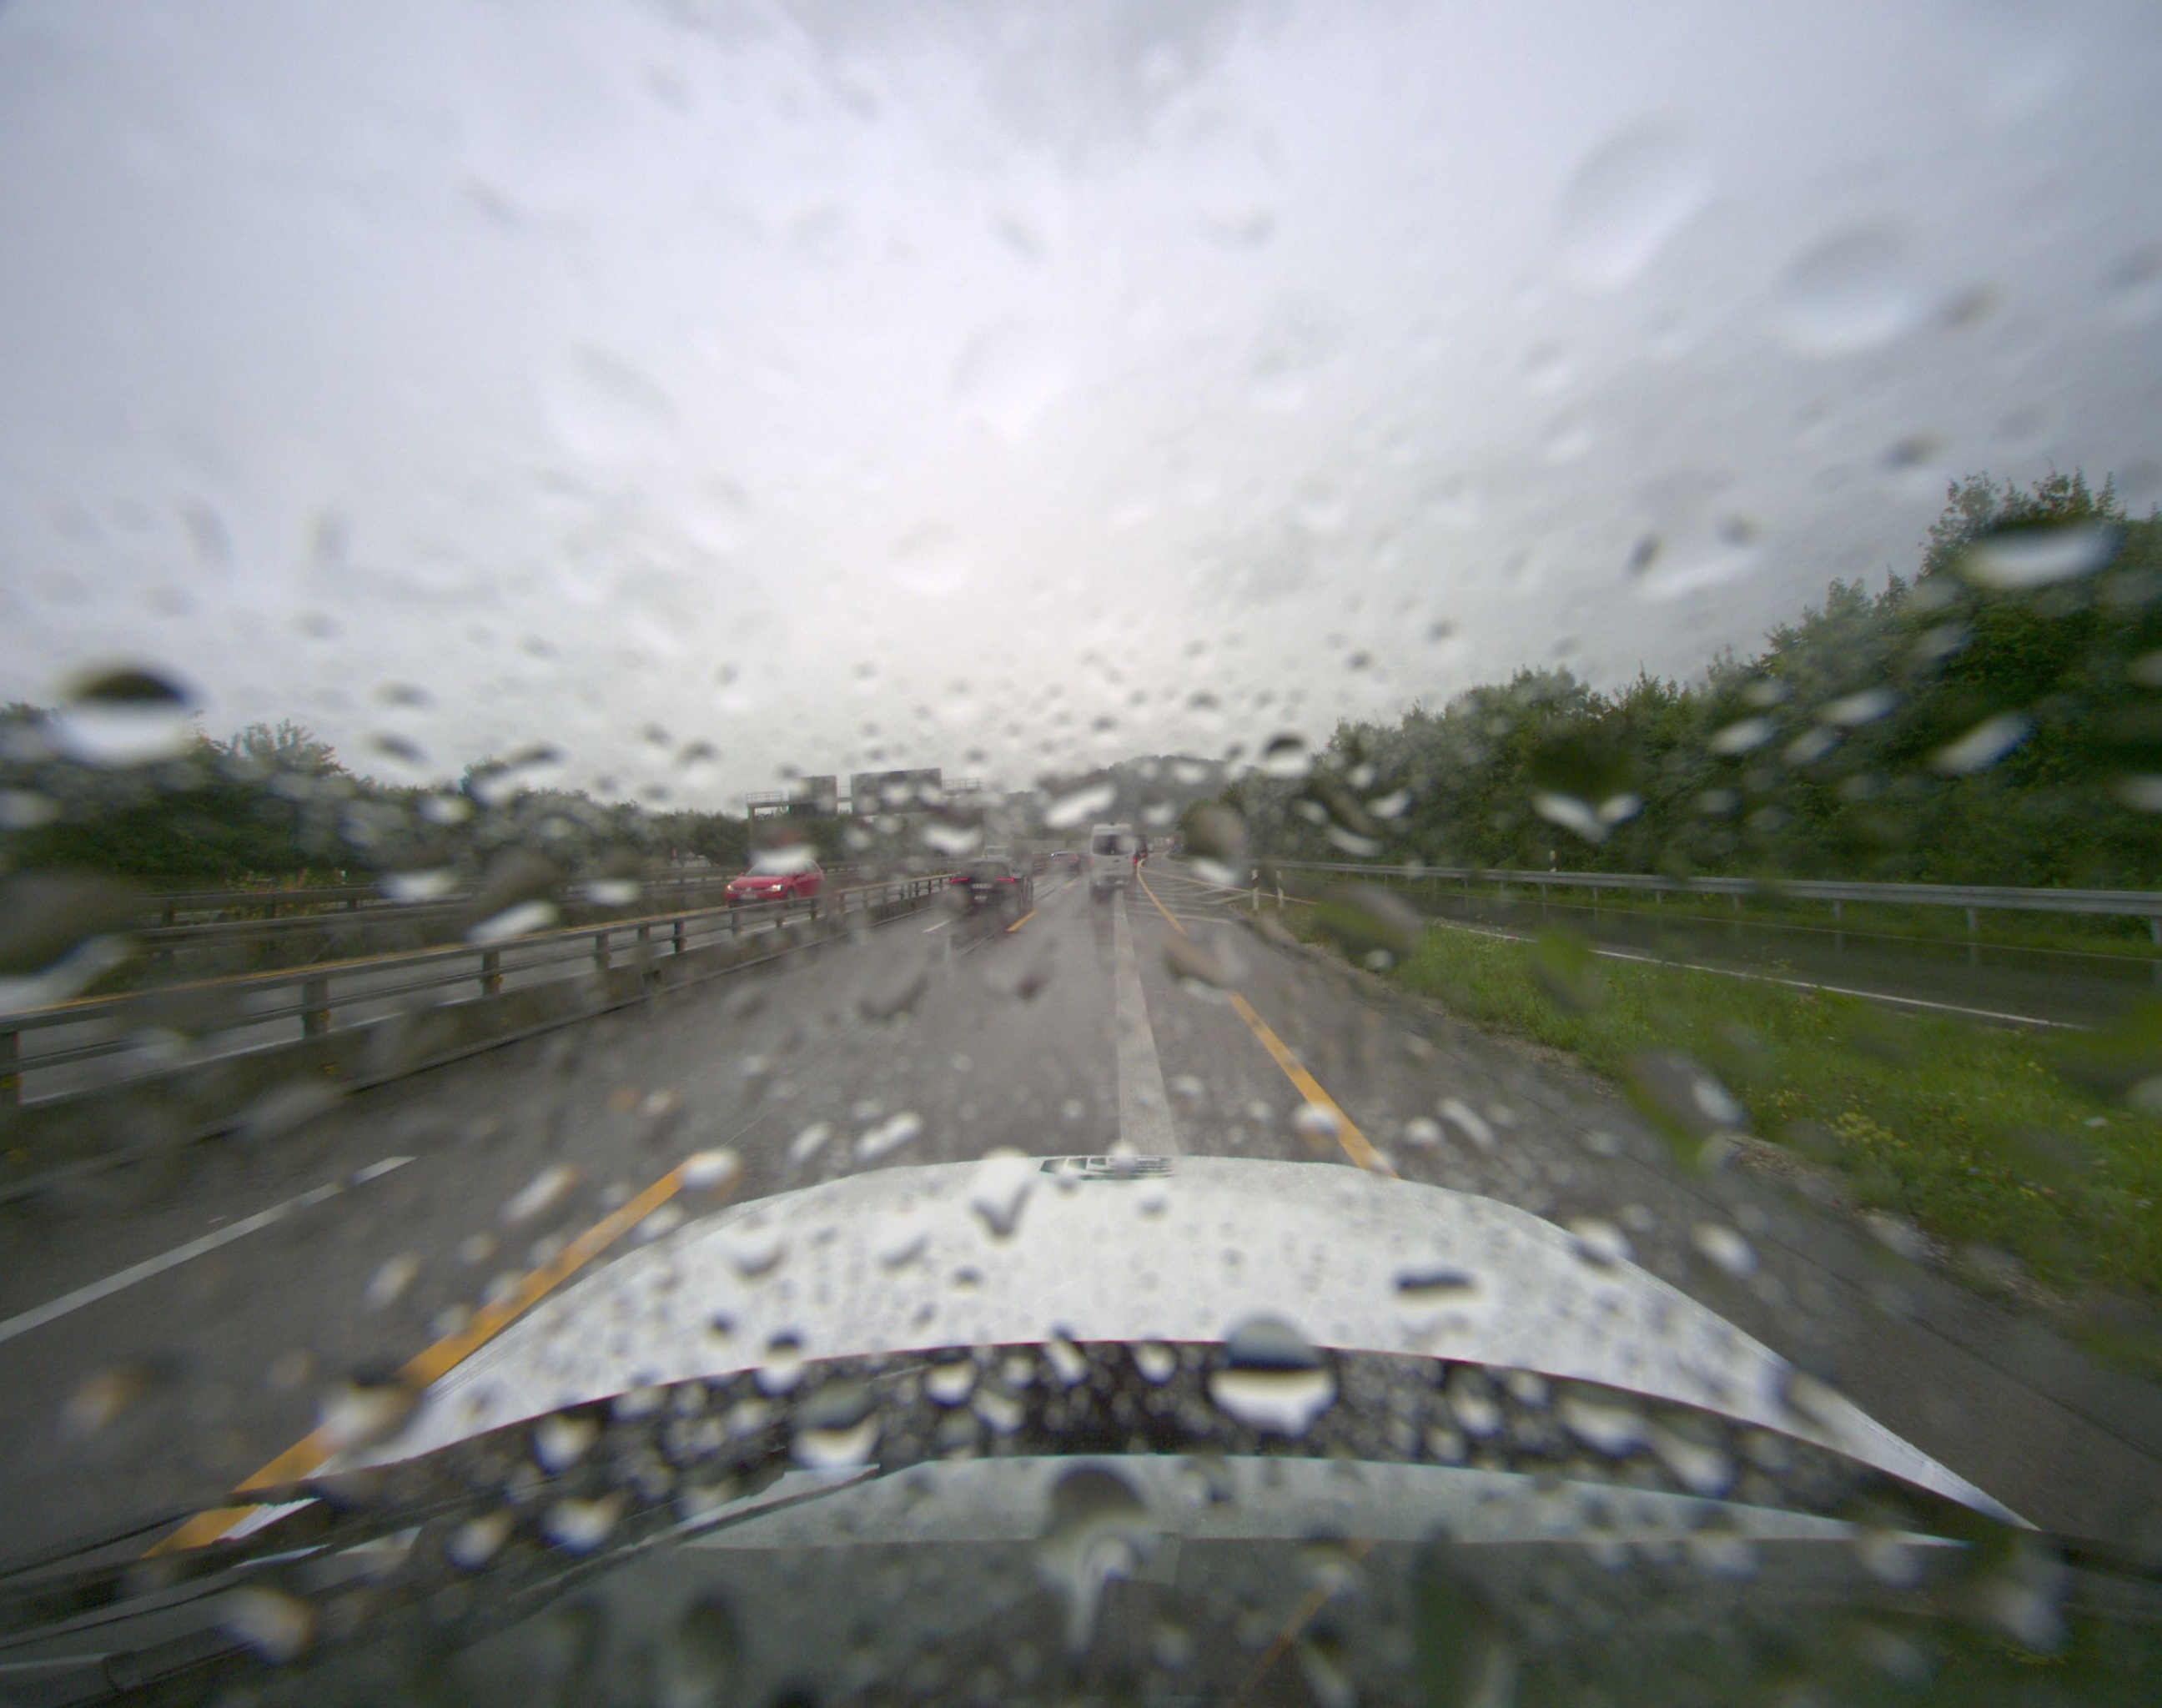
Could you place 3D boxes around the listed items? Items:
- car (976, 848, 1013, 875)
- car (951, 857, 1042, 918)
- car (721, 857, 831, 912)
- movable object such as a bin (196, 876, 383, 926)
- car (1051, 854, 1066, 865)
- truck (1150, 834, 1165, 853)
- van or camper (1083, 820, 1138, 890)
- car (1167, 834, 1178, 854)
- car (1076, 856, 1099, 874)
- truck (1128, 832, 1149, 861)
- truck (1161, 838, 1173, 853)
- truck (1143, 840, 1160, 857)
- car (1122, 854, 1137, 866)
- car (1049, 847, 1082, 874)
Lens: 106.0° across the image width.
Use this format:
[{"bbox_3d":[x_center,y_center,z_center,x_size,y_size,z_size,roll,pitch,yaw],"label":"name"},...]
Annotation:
[{"bbox_3d":[-6.560,0.570,62.320,1.900,2.014,5.833,0,0,3],"label":"car"},{"bbox_3d":[-2.134,0.802,21.794,1.933,1.427,4.759,0,0,0],"label":"car"},{"bbox_3d":[-9.035,0.853,24.518,1.602,1.504,4.218,0,0,2],"label":"car"},{"bbox_3d":[-25.831,1.486,26.807,2.118,1.425,4.002,0,0,2],"label":"movable object such as a bin"},{"bbox_3d":[-3.001,0.725,109.413,1.625,1.351,3.657,-1,0,2],"label":"car"},{"bbox_3d":[20.957,-2.817,222.231,3.908,4.785,9.925,0,0,7],"label":"truck"},{"bbox_3d":[1.290,0.043,34.618,2.131,2.721,4.651,-1,0,3],"label":"van or camper"},{"bbox_3d":[19.406,-2.088,172.506,2.048,4.191,6.754,-1,0,4],"label":"car"},{"bbox_3d":[0.647,0.962,73.714,1.844,1.500,4.003,-1,0,3],"label":"car"},{"bbox_3d":[9.864,-1.236,139.736,3.307,4.785,9.912,0,0,2],"label":"truck"},{"bbox_3d":[27.591,-2.678,260.525,3.908,4.785,9.925,0,0,7],"label":"truck"},{"bbox_3d":[15.827,-1.186,182.586,3.307,3.761,9.912,0,0,2],"label":"truck"},{"bbox_3d":[5.400,0.692,91.304,1.381,1.256,3.120,-1,0,-2],"label":"car"},{"bbox_3d":[-0.972,0.415,53.358,1.860,1.659,3.990,-1,0,2],"label":"car"}]
